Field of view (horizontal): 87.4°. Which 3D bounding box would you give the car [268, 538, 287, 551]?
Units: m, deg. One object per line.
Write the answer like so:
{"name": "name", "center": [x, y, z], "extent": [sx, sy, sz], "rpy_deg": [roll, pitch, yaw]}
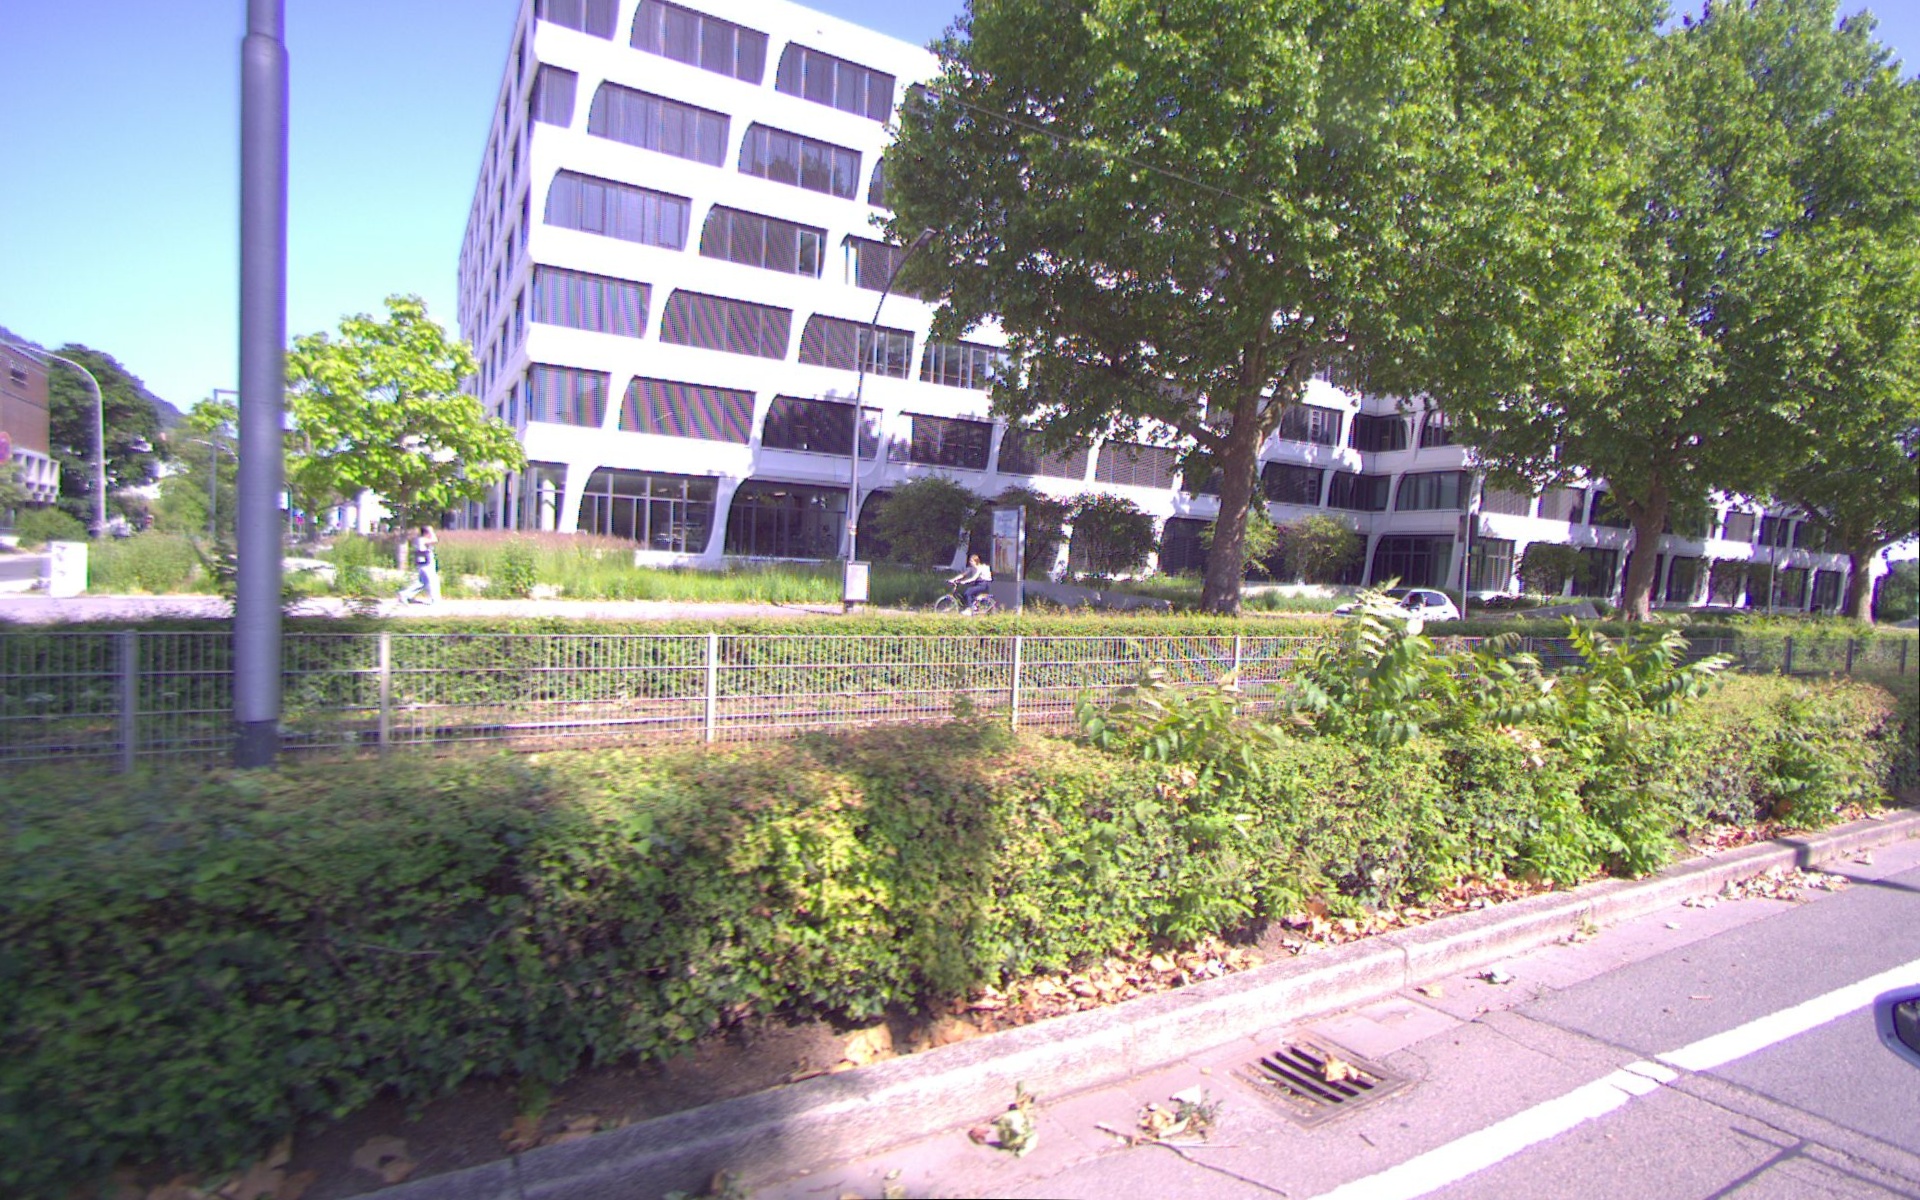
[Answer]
{"name": "car", "center": [-86.519, -7.050, 127.355], "extent": [1.713, 1.555, 3.824], "rpy_deg": [1, 2, -30]}

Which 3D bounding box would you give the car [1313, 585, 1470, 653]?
{"name": "car", "center": [11.446, 0.502, 26.620], "extent": [3.972, 1.591, 1.747], "rpy_deg": [1, 3, -31]}

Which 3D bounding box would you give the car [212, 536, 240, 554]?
{"name": "car", "center": [-70.008, -5.238, 95.835], "extent": [1.713, 1.555, 3.869], "rpy_deg": [1, 2, -30]}

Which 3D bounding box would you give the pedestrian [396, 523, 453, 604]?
{"name": "pedestrian", "center": [-11.094, -0.749, 20.794], "extent": [1.003, 1.610, 0.716], "rpy_deg": [1, 3, -30]}

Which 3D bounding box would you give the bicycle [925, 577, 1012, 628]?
{"name": "bicycle", "center": [0.209, 0.069, 24.283], "extent": [2.007, 1.139, 0.661], "rpy_deg": [1, 3, -30]}

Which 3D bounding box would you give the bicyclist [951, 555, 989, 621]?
{"name": "bicyclist", "center": [0.246, -0.287, 24.279], "extent": [0.633, 1.555, 0.651], "rpy_deg": [1, 3, -30]}
